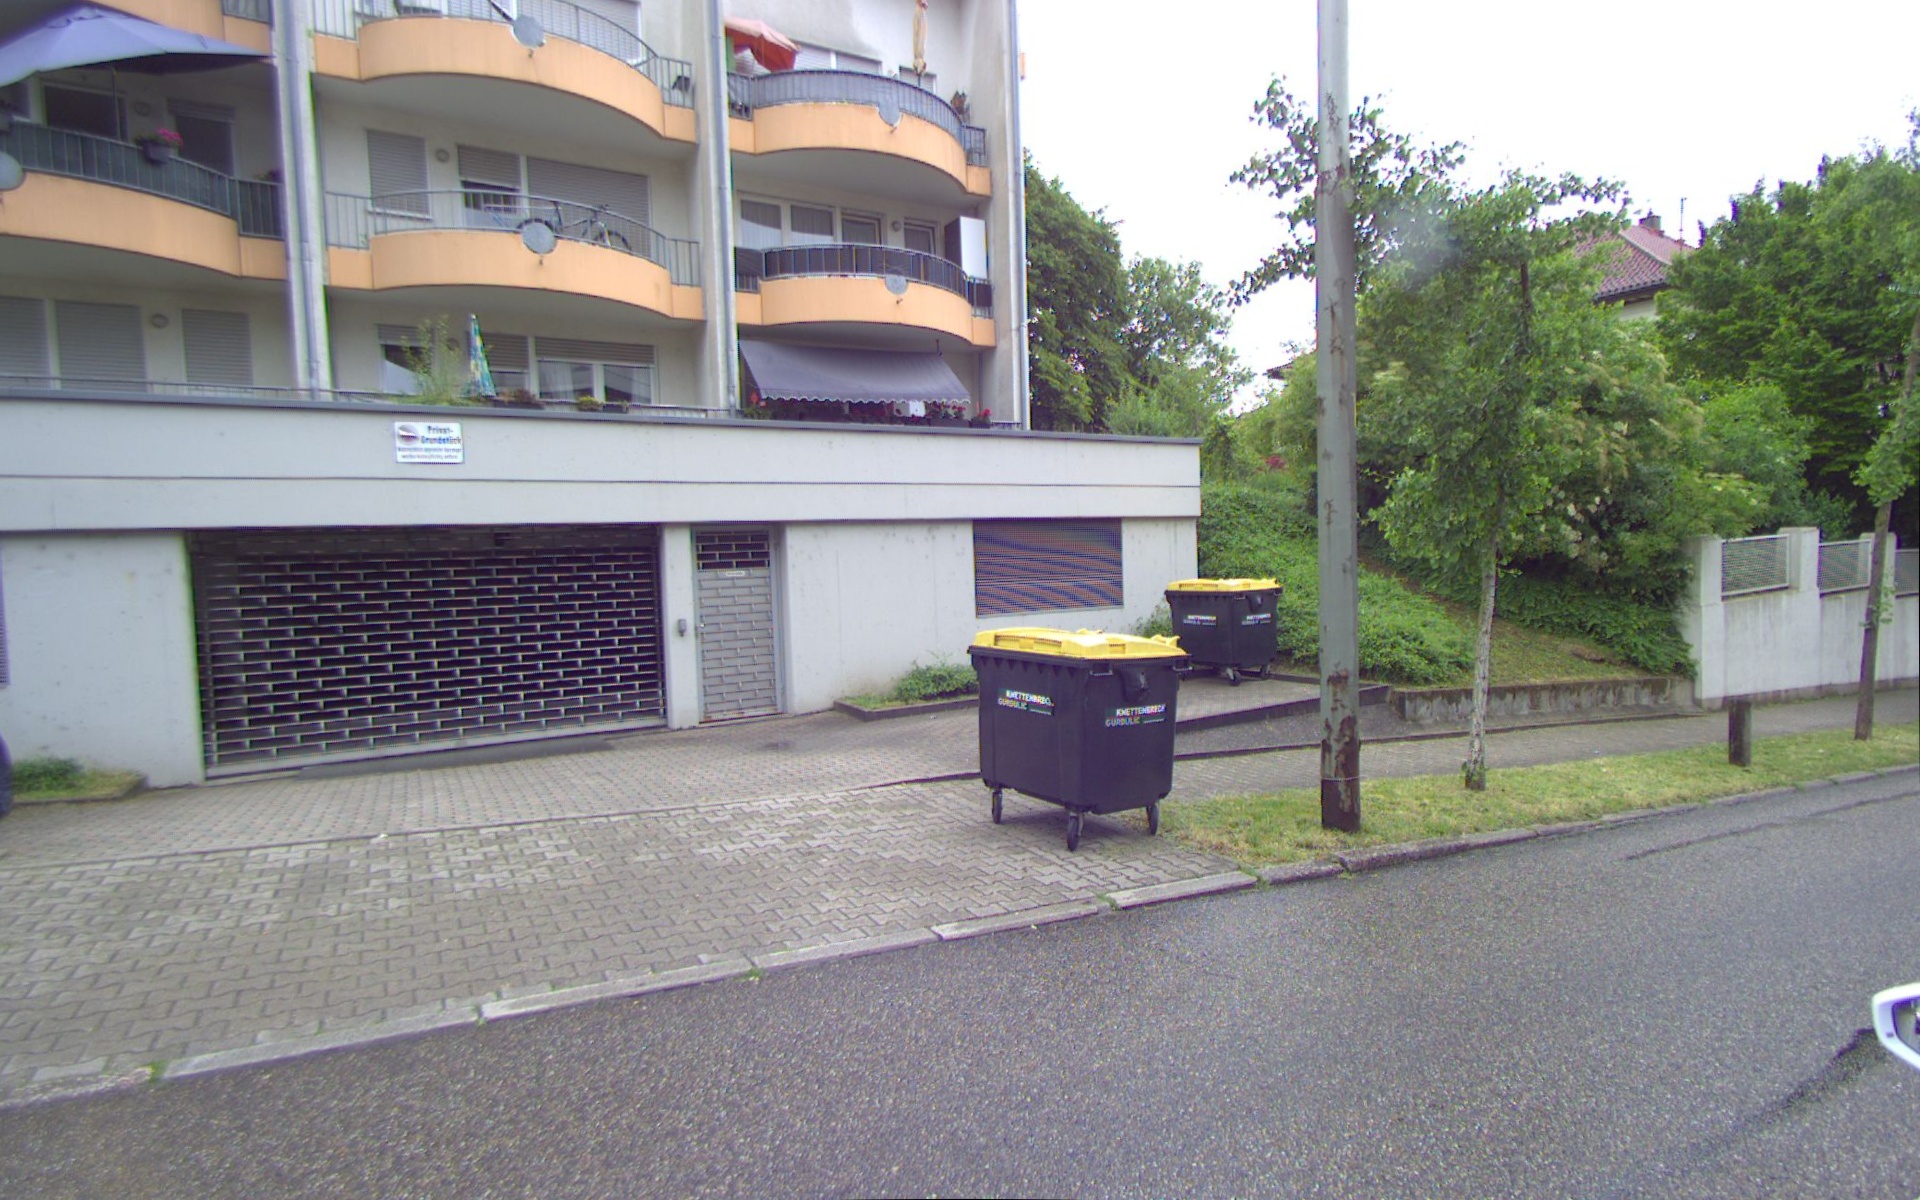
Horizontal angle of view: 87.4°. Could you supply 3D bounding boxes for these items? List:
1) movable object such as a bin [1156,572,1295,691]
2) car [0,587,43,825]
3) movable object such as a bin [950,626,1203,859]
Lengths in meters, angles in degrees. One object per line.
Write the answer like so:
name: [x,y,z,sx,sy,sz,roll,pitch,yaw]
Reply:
movable object such as a bin: [3.535,0.376,13.396,1.215,1.383,1.289,-7,6,-36]
car: [-8.132,0.677,5.647,4.050,1.582,1.770,1,-4,-31]
movable object such as a bin: [0.775,0.875,6.875,1.145,1.324,1.288,0,2,-38]
